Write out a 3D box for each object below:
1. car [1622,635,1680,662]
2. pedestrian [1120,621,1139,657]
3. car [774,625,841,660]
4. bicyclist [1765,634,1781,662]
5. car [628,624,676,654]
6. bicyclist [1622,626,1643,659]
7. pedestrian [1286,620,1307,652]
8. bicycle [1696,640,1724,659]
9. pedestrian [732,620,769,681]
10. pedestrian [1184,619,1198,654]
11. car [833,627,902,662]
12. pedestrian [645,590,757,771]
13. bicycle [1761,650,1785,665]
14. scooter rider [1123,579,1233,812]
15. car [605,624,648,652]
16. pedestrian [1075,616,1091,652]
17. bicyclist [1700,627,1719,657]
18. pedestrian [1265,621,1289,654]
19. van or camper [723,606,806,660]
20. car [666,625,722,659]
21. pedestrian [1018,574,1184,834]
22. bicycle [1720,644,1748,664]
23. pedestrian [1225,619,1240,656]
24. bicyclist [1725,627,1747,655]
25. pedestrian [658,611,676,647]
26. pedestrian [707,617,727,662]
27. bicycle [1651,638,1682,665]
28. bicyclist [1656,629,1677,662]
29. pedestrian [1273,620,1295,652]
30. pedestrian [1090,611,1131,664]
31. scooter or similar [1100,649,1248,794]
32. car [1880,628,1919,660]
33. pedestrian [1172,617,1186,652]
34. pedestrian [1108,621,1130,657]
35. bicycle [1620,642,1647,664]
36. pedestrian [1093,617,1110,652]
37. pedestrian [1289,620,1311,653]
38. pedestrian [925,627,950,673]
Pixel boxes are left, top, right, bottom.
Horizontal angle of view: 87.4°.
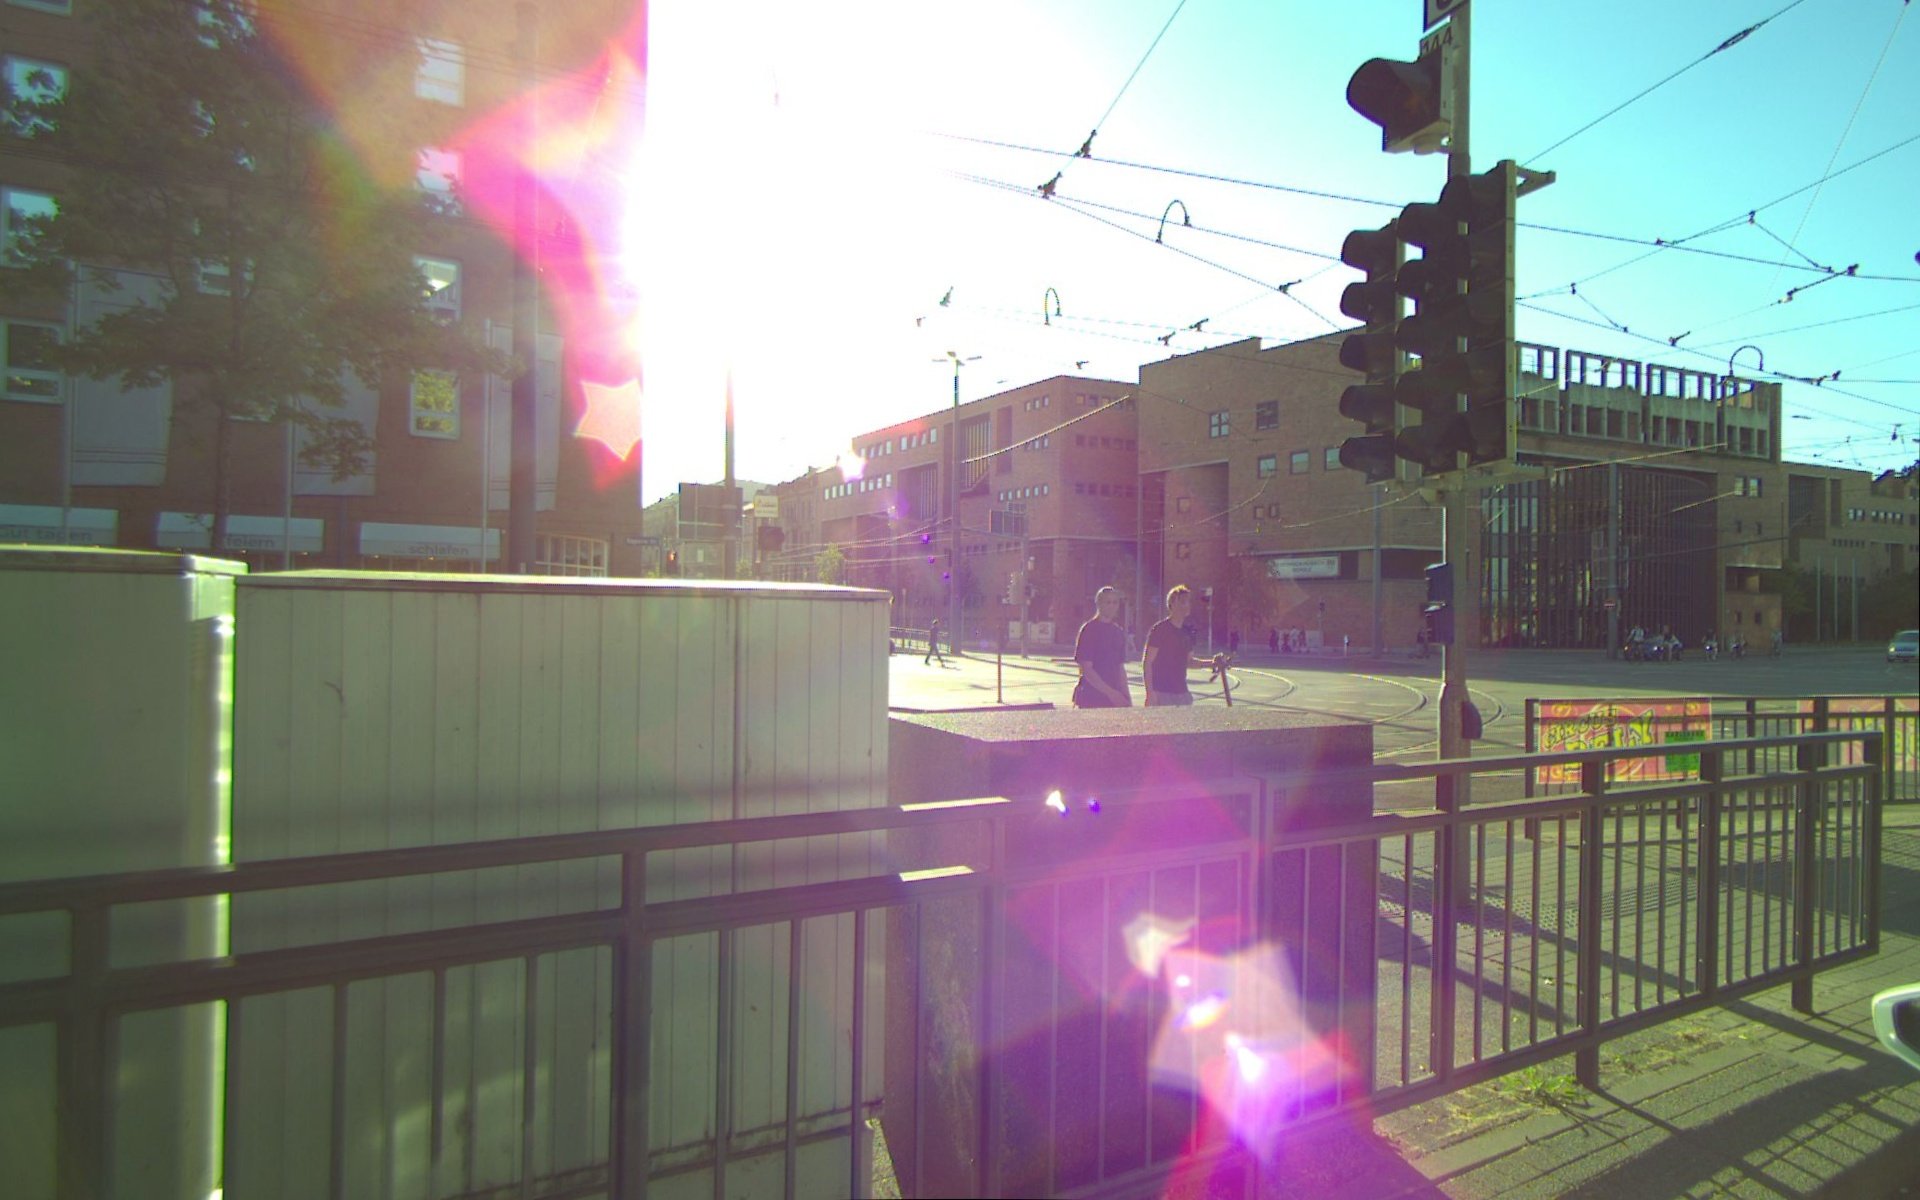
[{"bbox_3d":[38.001,2.636,55.246,3.682,1.394,1.569,1,-2,-37],"label":"car"},{"bbox_3d":[9.586,2.209,56.769,0.742,2.010,0.780,1,-1,-32],"label":"pedestrian"},{"bbox_3d":[-7.810,2.145,51.176,1.978,1.709,3.965,1,-2,-33],"label":"car"},{"bbox_3d":[47.215,2.791,58.352,0.509,1.647,0.583,1,-1,-34],"label":"bicyclist"},{"bbox_3d":[-18.565,2.321,60.463,1.738,1.750,3.965,1,-2,-32],"label":"car"},{"bbox_3d":[33.061,2.074,49.377,0.752,1.595,0.655,1,-2,-40],"label":"bicyclist"},{"bbox_3d":[21.816,2.335,65.066,0.841,2.079,1.001,1,-1,-32],"label":"pedestrian"},{"bbox_3d":[39.777,2.623,53.273,1.884,1.011,0.688,1,-2,-37],"label":"bicycle"},{"bbox_3d":[-6.242,1.490,29.956,0.860,1.775,0.670,1,-2,-39],"label":"pedestrian"},{"bbox_3d":[13.611,2.125,59.245,0.603,2.040,0.731,0,-1,30],"label":"pedestrian"},{"bbox_3d":[-4.820,2.239,51.800,1.978,1.709,3.965,1,-2,-33],"label":"car"},{"bbox_3d":[-2.775,0.818,10.727,0.945,1.822,0.986,2,0,-26],"label":"pedestrian"},{"bbox_3d":[47.270,3.337,58.380,1.948,0.781,0.586,1,-2,-35],"label":"bicycle"},{"bbox_3d":[1.839,0.792,8.511,0.670,1.877,0.564,3,-2,-25],"label":"scooter rider"},{"bbox_3d":[-21.642,2.428,65.185,1.738,1.750,3.965,1,-2,-32],"label":"car"},{"bbox_3d":[7.106,1.960,57.948,0.607,2.040,0.727,1,-1,-32],"label":"pedestrian"},{"bbox_3d":[39.697,2.223,53.206,0.752,1.590,0.656,1,-2,-37],"label":"bicyclist"},{"bbox_3d":[20.011,2.368,63.341,0.902,2.040,1.151,1,-1,-34],"label":"pedestrian"},{"bbox_3d":[-9.393,1.568,47.909,1.981,2.451,4.980,1,-2,-36],"label":"van or camper"},{"bbox_3d":[-14.359,2.246,54.141,1.739,1.750,3.963,1,-2,-33],"label":"car"},{"bbox_3d":[1.109,0.781,8.093,0.843,1.908,1.164,1,-1,-25],"label":"pedestrian"},{"bbox_3d":[42.548,2.969,55.184,1.993,1.064,0.647,2,-1,-35],"label":"bicycle"},{"bbox_3d":[15.445,2.114,56.925,0.603,2.040,0.731,0,-1,30],"label":"pedestrian"},{"bbox_3d":[42.768,2.257,55.351,1.022,1.494,0.649,2,-1,-35],"label":"bicyclist"},{"bbox_3d":[-15.092,1.497,51.689,0.597,1.843,0.848,1,-1,-38],"label":"pedestrian"},{"bbox_3d":[-11.068,1.786,45.763,0.597,2.040,0.848,1,-1,-38],"label":"pedestrian"},{"bbox_3d":[34.269,2.491,48.731,2.092,1.157,0.679,-1,0,-39],"label":"bicycle"},{"bbox_3d":[34.289,2.186,48.752,0.752,1.581,0.676,1,-2,-39],"label":"bicyclist"},{"bbox_3d":[20.803,2.307,64.496,0.841,2.079,1.001,1,-1,-32],"label":"pedestrian"},{"bbox_3d":[5.975,1.499,39.879,1.193,2.040,1.028,2,0,-30],"label":"pedestrian"},{"bbox_3d":[1.788,0.979,8.517,0.639,1.095,1.199,1,-1,-25],"label":"scooter or similar"},{"bbox_3d":[48.939,2.232,51.708,3.962,1.598,1.610,1,-2,-36],"label":"car"},{"bbox_3d":[13.012,2.053,59.653,0.603,2.040,0.731,0,-1,30],"label":"pedestrian"},{"bbox_3d":[8.896,2.185,56.285,0.917,2.010,0.780,1,-1,-32],"label":"pedestrian"},{"bbox_3d":[33.153,2.599,49.455,1.887,1.011,0.647,2,-2,-41],"label":"bicycle"},{"bbox_3d":[8.126,1.985,57.790,0.644,2.040,0.780,1,-1,-32],"label":"pedestrian"},{"bbox_3d":[21.583,2.318,63.802,0.841,2.079,1.001,1,-1,-32],"label":"pedestrian"},{"bbox_3d":[-0.915,2.020,40.778,0.797,1.801,0.623,2,0,-30],"label":"pedestrian"}]
